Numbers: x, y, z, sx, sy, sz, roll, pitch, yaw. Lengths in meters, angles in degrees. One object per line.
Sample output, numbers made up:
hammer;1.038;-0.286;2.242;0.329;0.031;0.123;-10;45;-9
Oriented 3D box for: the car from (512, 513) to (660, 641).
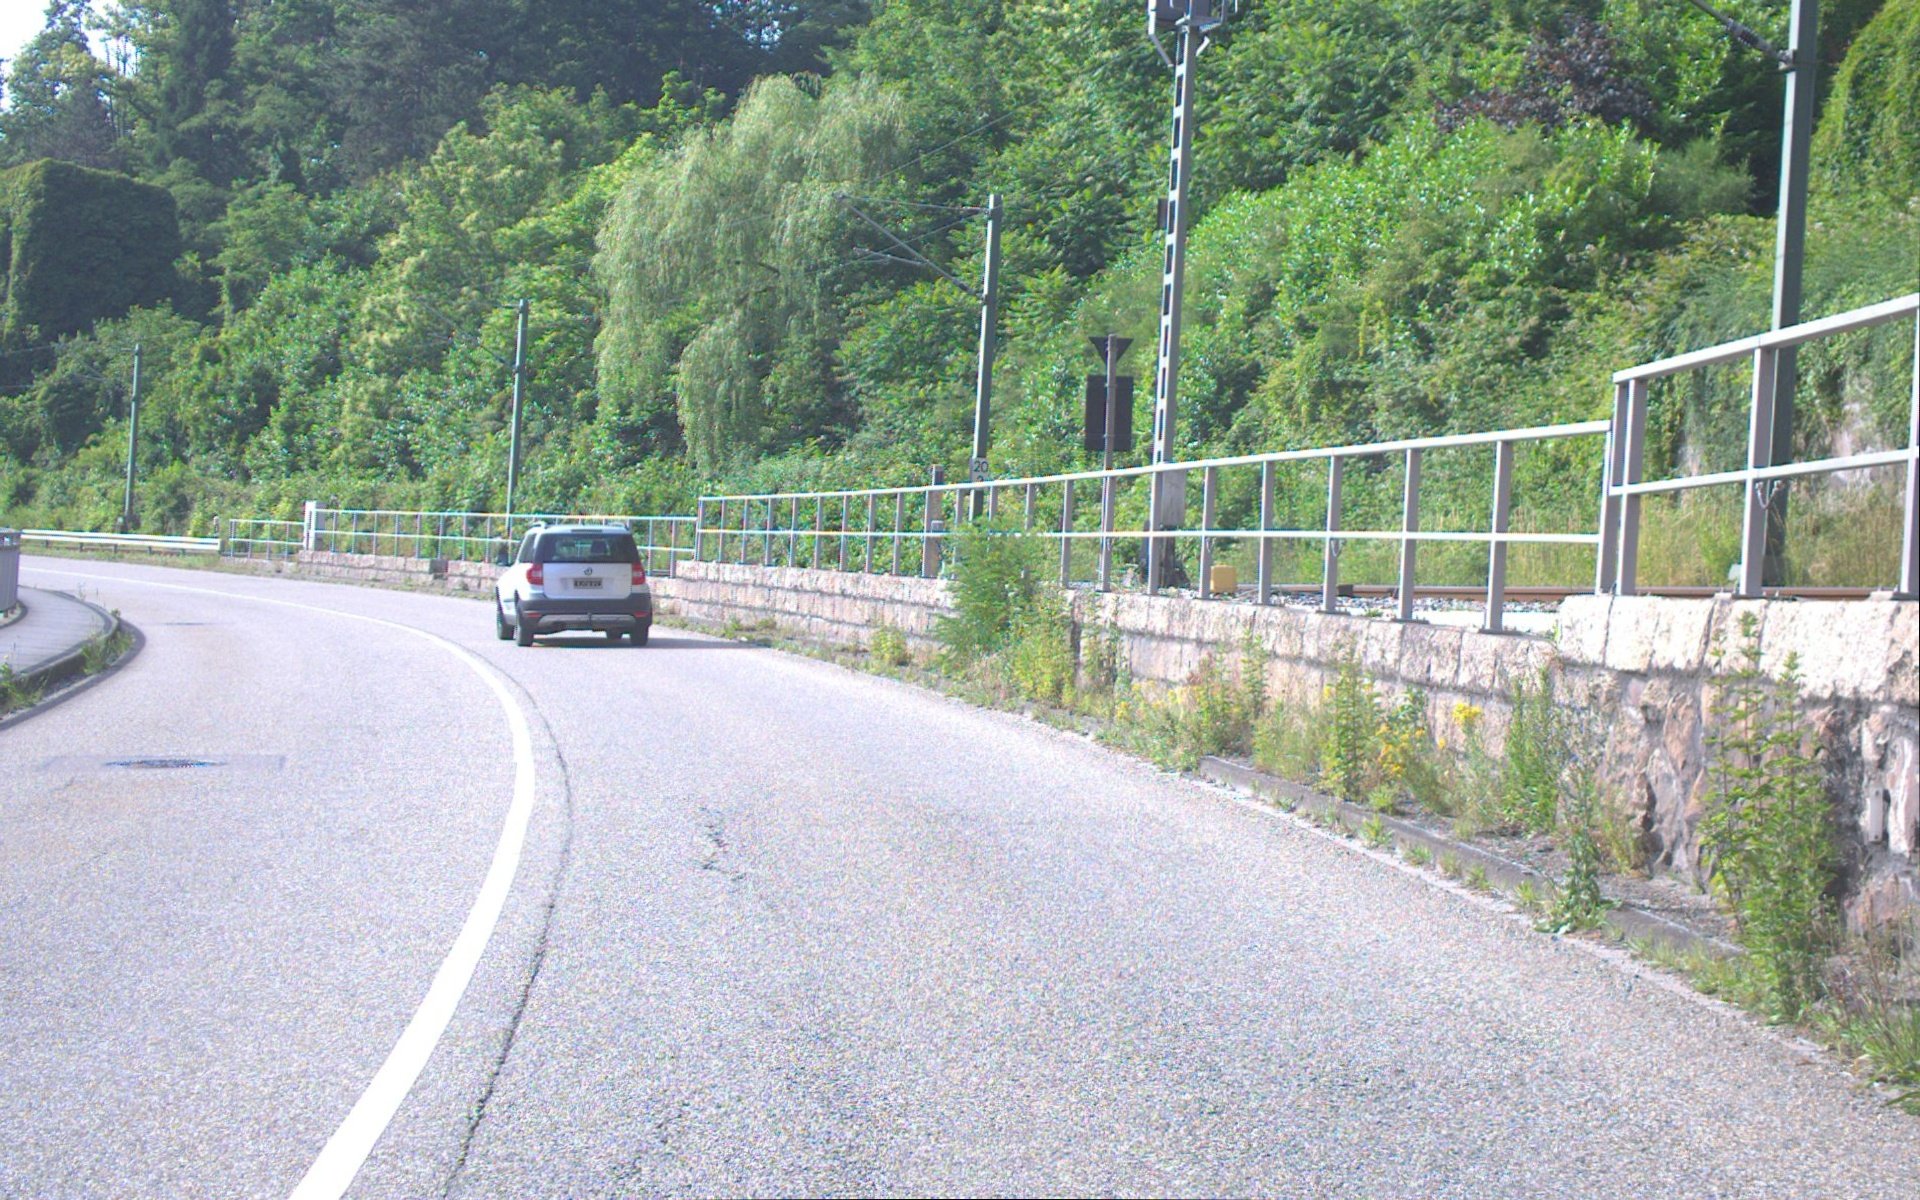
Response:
car;-5.166;-0.348;47.163;1.872;1.650;4.001;1;1;-8
